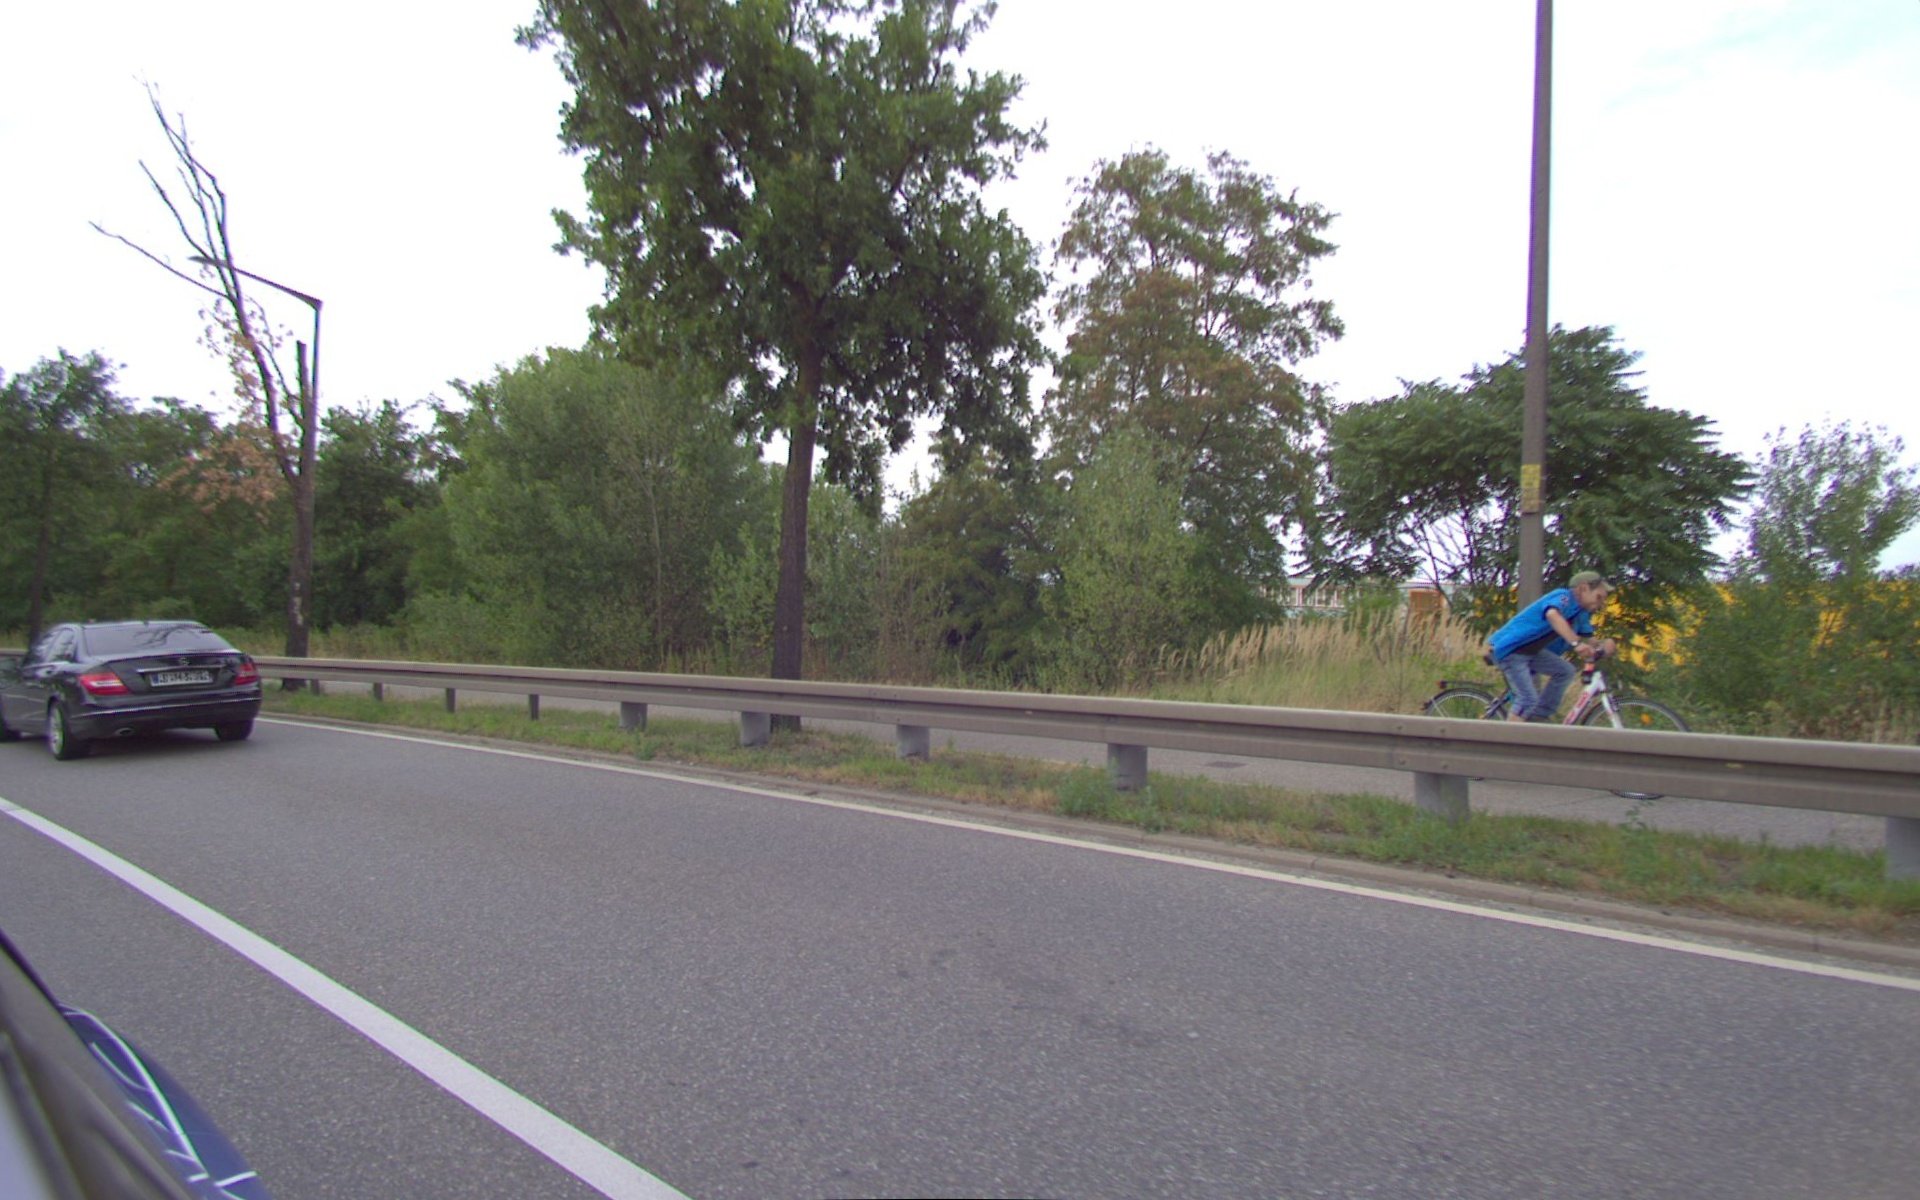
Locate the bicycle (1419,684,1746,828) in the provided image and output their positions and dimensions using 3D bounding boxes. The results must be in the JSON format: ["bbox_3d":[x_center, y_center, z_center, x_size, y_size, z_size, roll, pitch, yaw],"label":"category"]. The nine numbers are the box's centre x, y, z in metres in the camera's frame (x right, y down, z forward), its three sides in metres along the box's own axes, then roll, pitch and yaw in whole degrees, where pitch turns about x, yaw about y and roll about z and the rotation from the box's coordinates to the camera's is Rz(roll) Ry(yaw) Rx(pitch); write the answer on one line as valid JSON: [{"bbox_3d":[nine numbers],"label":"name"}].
[{"bbox_3d":[4.401,1.052,7.251,1.892,0.804,0.684,-2,-1,41],"label":"bicycle"}]

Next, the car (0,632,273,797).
[{"bbox_3d":[-9.841,1.191,11.710,4.318,1.507,1.690,-2,0,35],"label":"car"}]

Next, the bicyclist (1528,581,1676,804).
[{"bbox_3d":[4.526,0.610,7.129,0.747,1.455,0.703,-2,-1,41],"label":"bicyclist"}]
